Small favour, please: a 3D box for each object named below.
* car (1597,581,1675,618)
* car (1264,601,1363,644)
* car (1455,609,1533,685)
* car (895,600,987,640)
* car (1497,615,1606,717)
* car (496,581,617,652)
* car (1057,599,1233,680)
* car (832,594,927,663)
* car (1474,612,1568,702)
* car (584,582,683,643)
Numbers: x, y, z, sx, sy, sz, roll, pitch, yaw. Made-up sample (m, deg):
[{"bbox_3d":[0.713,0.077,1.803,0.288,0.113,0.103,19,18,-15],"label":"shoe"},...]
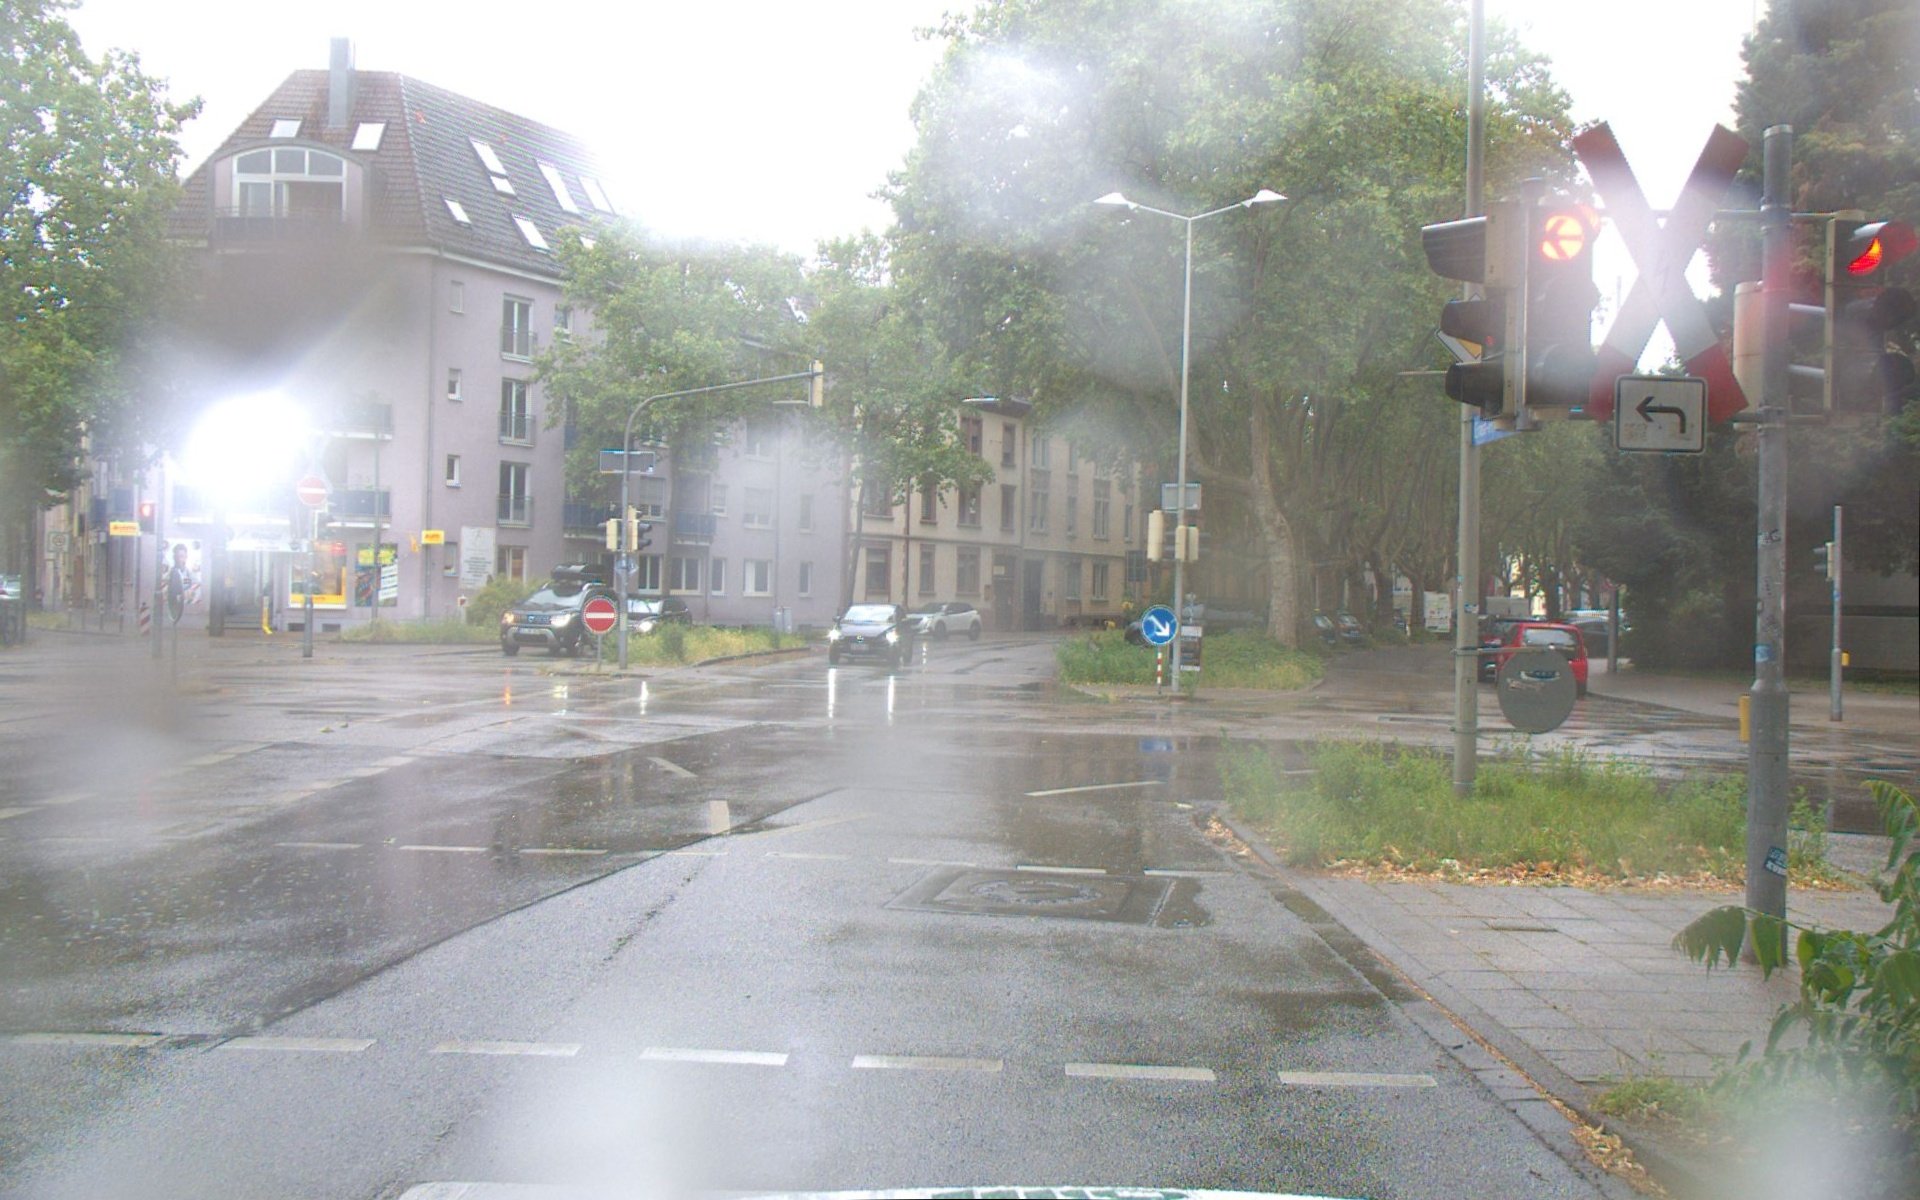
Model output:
[{"bbox_3d":[37.796,-0.039,92.546,3.903,2.049,1.708,0,0,19],"label":"car"},{"bbox_3d":[14.036,0.887,65.754,3.537,1.646,1.679,0,0,28],"label":"car"},{"bbox_3d":[15.466,1.325,48.106,1.951,2.049,4.003,0,0,15],"label":"car"},{"bbox_3d":[-0.742,0.805,68.161,1.648,1.579,4.183,0,0,35],"label":"car"},{"bbox_3d":[13.026,1.394,36.619,1.951,2.049,4.003,0,0,15],"label":"car"},{"bbox_3d":[-9.349,0.354,38.577,1.688,1.579,3.562,0,0,5],"label":"car"},{"bbox_3d":[3.705,0.769,33.029,3.405,1.550,1.521,0,0,8],"label":"car"},{"bbox_3d":[-1.933,0.668,40.520,1.568,1.579,3.563,0,0,10],"label":"car"},{"bbox_3d":[13.863,1.359,41.067,1.951,2.049,4.003,0,0,15],"label":"car"},{"bbox_3d":[-8.779,0.312,44.714,1.688,1.579,3.562,0,0,5],"label":"car"}]
